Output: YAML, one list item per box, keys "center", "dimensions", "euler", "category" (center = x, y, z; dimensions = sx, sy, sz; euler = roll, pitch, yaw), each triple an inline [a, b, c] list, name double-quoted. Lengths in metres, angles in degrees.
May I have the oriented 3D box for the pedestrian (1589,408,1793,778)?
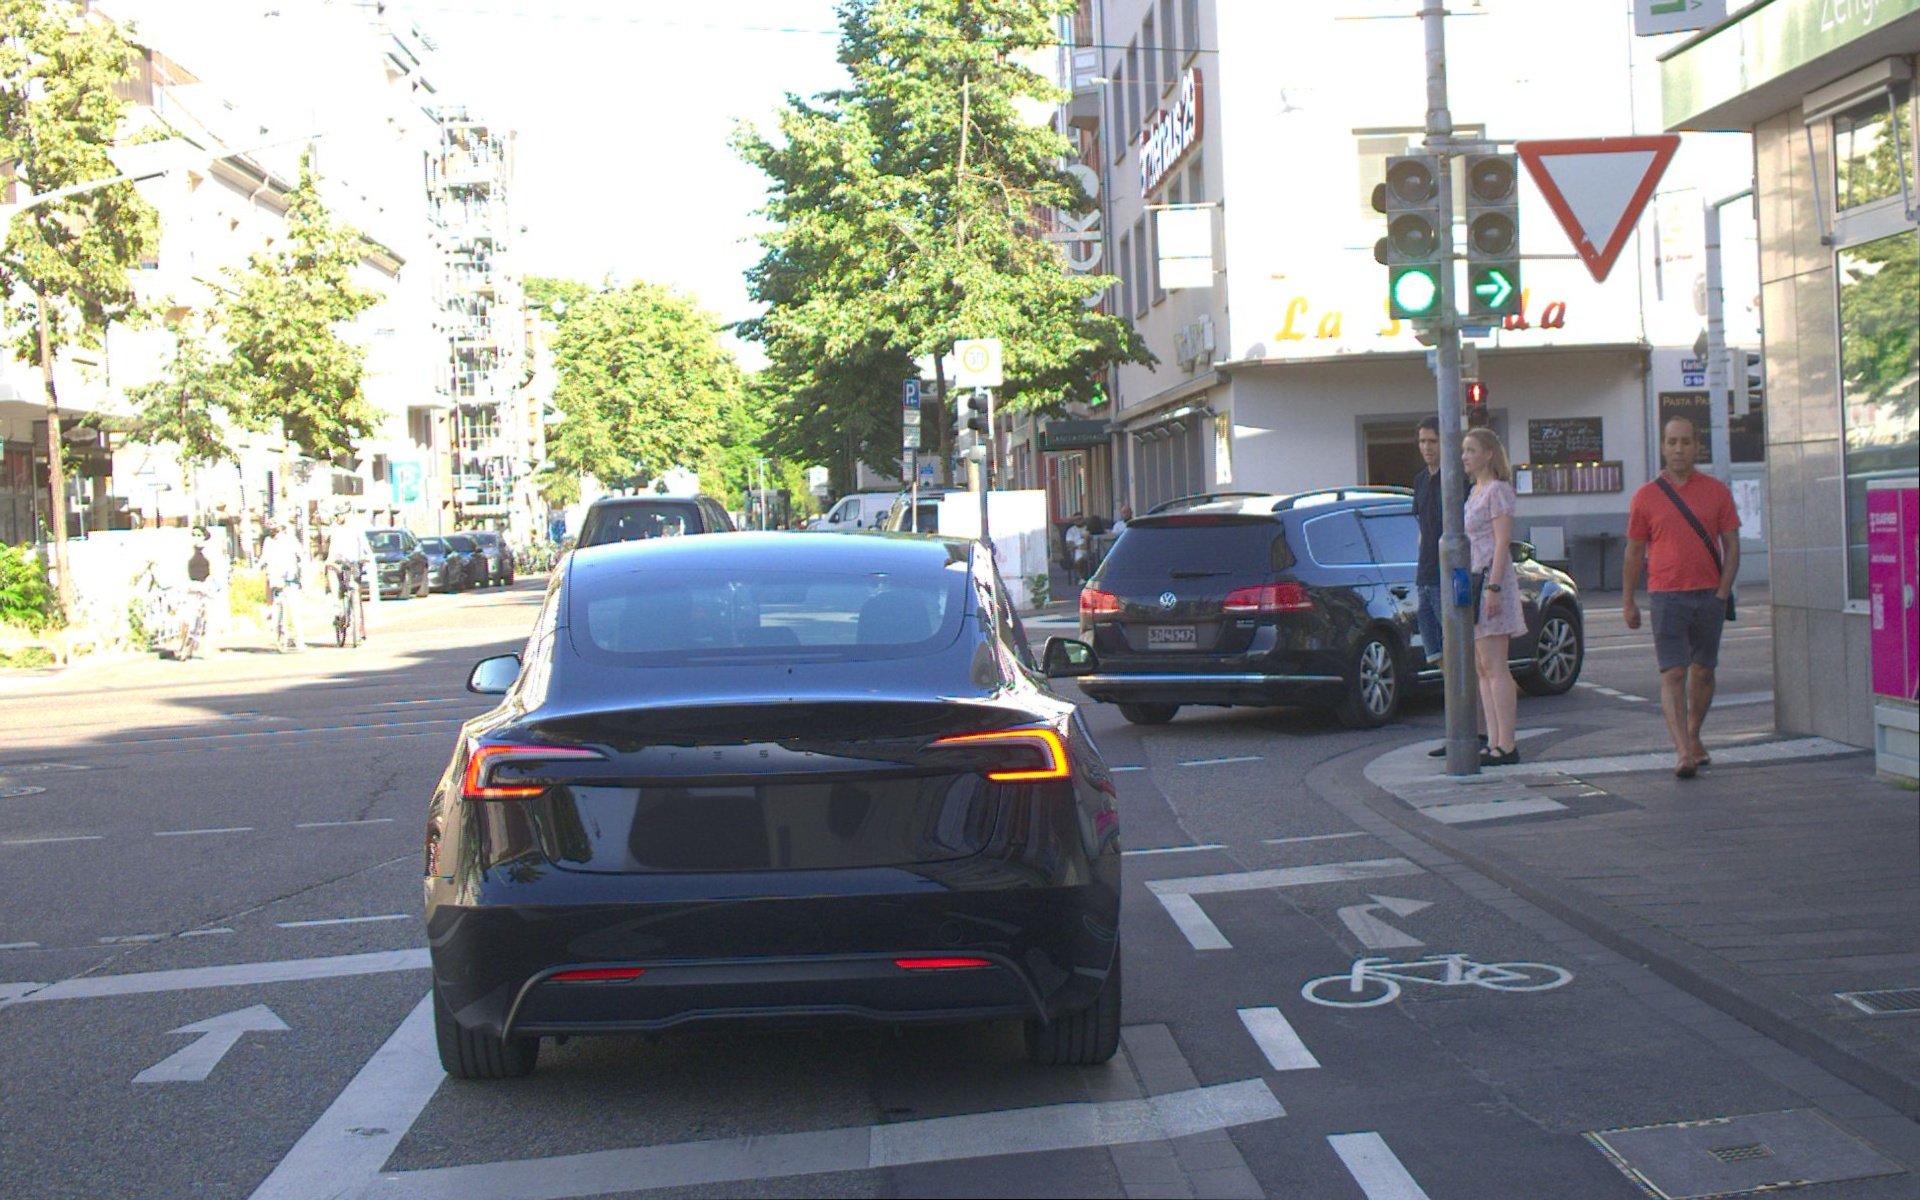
- center: [3.518, -0.046, 16.603]
  dimensions: [0.690, 1.697, 0.912]
  euler: [-4, 2, 0]
  category: "pedestrian"

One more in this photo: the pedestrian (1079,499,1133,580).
- center: [2.483, -1.033, 58.592]
  dimensions: [0.730, 1.342, 1.060]
  euler: [-3, 1, -4]
  category: "pedestrian"

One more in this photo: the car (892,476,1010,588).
- center: [-0.197, -1.231, 61.138]
  dimensions: [1.904, 1.845, 4.289]
  euler: [-2, 2, -2]
  category: "car"

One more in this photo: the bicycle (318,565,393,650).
- center: [-7.838, 0.084, 44.541]
  dimensions: [0.758, 1.004, 1.726]
  euler: [-6, 2, -13]
  category: "bicycle"

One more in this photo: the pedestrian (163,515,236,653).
- center: [-9.587, -0.208, 43.319]
  dimensions: [0.790, 1.706, 0.654]
  euler: [-2, 2, -16]
  category: "pedestrian"

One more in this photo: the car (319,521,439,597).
- center: [-13.087, -0.955, 77.617]
  dimensions: [1.993, 1.592, 4.000]
  euler: [-2, 2, 0]
  category: "car"

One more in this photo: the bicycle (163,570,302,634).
- center: [-12.245, 0.027, 57.857]
  dimensions: [2.219, 0.955, 0.656]
  euler: [-3, 1, -14]
  category: "bicycle"

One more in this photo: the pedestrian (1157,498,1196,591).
- center: [3.144, -0.808, 49.889]
  dimensions: [0.488, 1.317, 0.653]
  euler: [-3, 1, 6]
  category: "pedestrian"

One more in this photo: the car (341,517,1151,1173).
- center: [-0.535, 0.534, 10.391]
  dimensions: [1.869, 1.422, 4.365]
  euler: [-3, 2, -1]
  category: "car"

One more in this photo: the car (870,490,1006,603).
- center: [-0.397, -0.876, 54.562]
  dimensions: [2.001, 1.630, 4.289]
  euler: [-2, 2, -2]
  category: "car"

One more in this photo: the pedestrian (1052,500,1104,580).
- center: [2.047, -1.047, 59.692]
  dimensions: [0.709, 1.342, 1.060]
  euler: [-3, 1, -5]
  category: "pedestrian"

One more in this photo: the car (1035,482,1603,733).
- center: [2.432, -0.006, 22.245]
  dimensions: [1.765, 1.414, 4.346]
  euler: [-1, 2, 34]
  category: "car"

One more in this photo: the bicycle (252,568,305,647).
- center: [-8.804, 0.085, 44.380]
  dimensions: [0.552, 0.965, 1.795]
  euler: [-3, 1, -13]
  category: "bicycle"

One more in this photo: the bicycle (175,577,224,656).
- center: [-9.666, 0.204, 43.662]
  dimensions: [0.480, 0.952, 1.456]
  euler: [-3, 1, -16]
  category: "bicycle"

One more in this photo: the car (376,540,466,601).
- center: [-13.348, -0.753, 85.365]
  dimensions: [1.786, 1.397, 3.907]
  euler: [-2, 2, -3]
  category: "car"

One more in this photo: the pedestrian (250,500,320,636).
- center: [-8.737, -0.421, 44.506]
  dimensions: [0.778, 1.722, 0.559]
  euler: [-2, 2, -16]
  category: "pedestrian"

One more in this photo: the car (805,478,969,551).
- center: [-2.490, -2.893, 116.386]
  dimensions: [5.391, 2.138, 2.000]
  euler: [-3, 1, -2]
  category: "car"

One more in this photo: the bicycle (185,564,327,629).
- center: [-12.435, -0.069, 60.737]
  dimensions: [2.396, 1.002, 0.656]
  euler: [-3, 1, -12]
  category: "bicycle"

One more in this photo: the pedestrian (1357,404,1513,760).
- center: [2.530, -0.103, 18.347]
  dimensions: [0.640, 1.835, 0.682]
  euler: [-3, 2, -2]
  category: "pedestrian"

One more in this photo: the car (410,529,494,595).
- center: [-13.336, -1.014, 90.430]
  dimensions: [1.718, 1.604, 3.598]
  euler: [-3, 2, -2]
  category: "car"

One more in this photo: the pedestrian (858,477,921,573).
- center: [-1.457, -1.558, 71.147]
  dimensions: [0.958, 1.909, 1.104]
  euler: [-3, 1, 15]
  category: "pedestrian"

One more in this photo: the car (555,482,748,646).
- center: [-3.530, -0.455, 39.980]
  dimensions: [1.904, 1.727, 4.289]
  euler: [-2, 2, -2]
  category: "car"

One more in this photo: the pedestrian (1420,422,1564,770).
- center: [2.750, -0.029, 17.810]
  dimensions: [0.572, 1.753, 0.649]
  euler: [-2, 1, -2]
  category: "pedestrian"

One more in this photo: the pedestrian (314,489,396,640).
- center: [-7.841, -0.465, 44.519]
  dimensions: [0.778, 1.860, 1.002]
  euler: [-6, 2, -16]
  category: "pedestrian"

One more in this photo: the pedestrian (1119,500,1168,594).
- center: [2.616, -0.761, 49.098]
  dimensions: [0.586, 1.308, 0.560]
  euler: [-3, 1, -1]
  category: "pedestrian"

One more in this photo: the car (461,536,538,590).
- center: [-12.736, -1.042, 95.297]
  dimensions: [1.786, 1.397, 3.907]
  euler: [-2, 2, -3]
  category: "car"

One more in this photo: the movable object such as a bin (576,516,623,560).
- center: [-12.160, -2.080, 115.843]
  dimensions: [1.308, 1.403, 1.071]
  euler: [-3, 2, -18]
  category: "movable object such as a bin"

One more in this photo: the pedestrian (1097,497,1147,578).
- center: [2.824, -1.092, 59.868]
  dimensions: [0.730, 1.355, 0.959]
  euler: [-3, 1, -2]
  category: "pedestrian"
